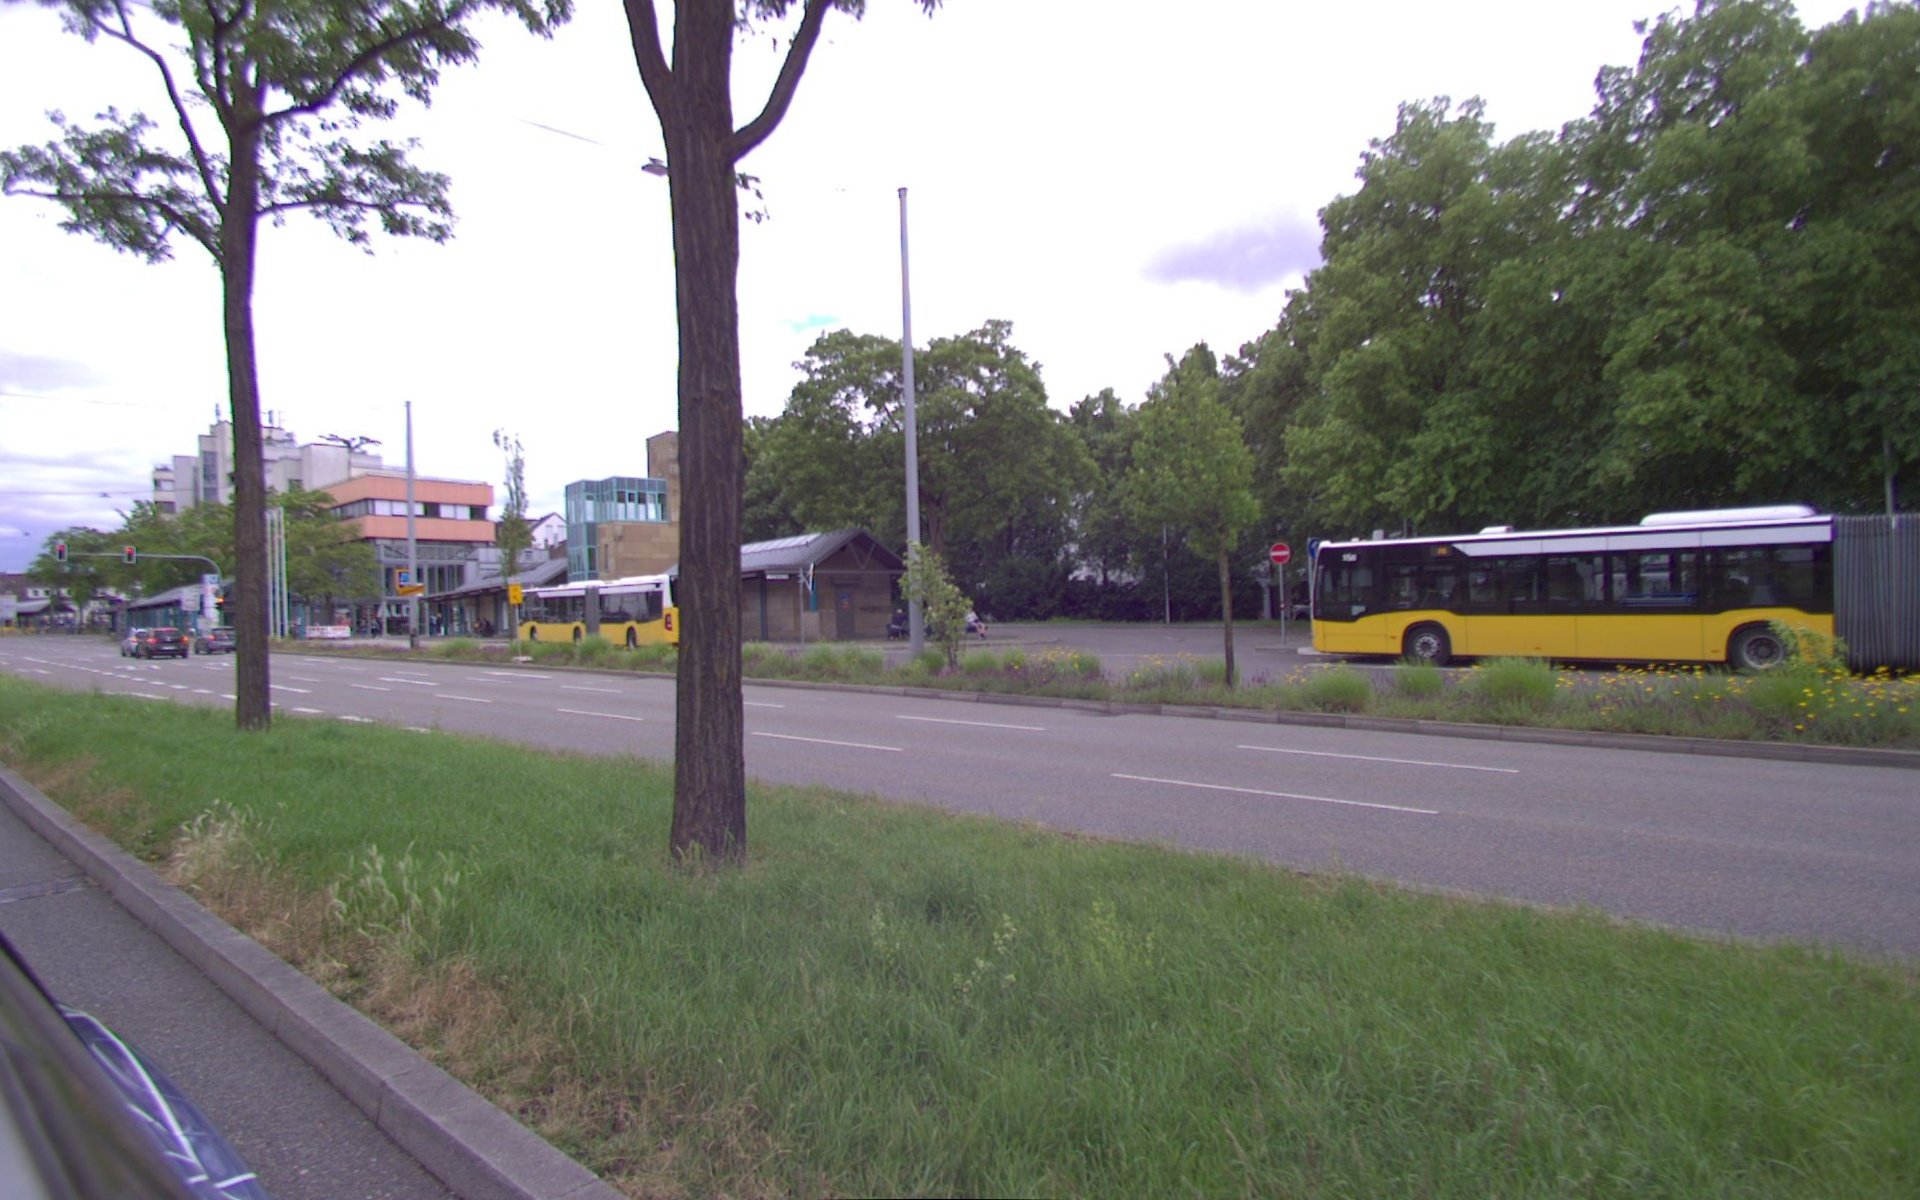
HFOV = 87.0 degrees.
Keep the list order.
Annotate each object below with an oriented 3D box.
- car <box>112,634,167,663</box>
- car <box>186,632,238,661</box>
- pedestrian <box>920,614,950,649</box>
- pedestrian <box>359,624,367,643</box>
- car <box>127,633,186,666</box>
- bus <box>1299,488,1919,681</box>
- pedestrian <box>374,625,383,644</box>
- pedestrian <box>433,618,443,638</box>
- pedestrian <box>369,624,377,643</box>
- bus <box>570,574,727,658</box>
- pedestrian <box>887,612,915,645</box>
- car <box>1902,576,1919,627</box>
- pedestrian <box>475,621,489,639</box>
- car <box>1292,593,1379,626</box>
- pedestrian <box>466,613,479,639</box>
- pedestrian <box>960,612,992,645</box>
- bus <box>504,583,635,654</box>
[{"bbox_3d":[-44.298,2.624,54.607,3.788,1.476,1.727,-3,-2,42],"label":"car"},{"bbox_3d":[-41.933,2.561,56.703,1.794,1.519,4.002,0,-1,-45],"label":"car"},{"bbox_3d":[-0.951,1.182,38.447,0.888,1.300,0.853,-2,-1,17],"label":"pedestrian"},{"bbox_3d":[-48.793,2.743,82.666,0.522,1.559,0.756,-1,-1,-33],"label":"pedestrian"},{"bbox_3d":[-39.791,2.418,50.073,3.767,1.519,1.641,-2,-1,41],"label":"car"},{"bbox_3d":[13.054,-0.132,21.605,10.740,3.187,3.049,-2,-1,44],"label":"bus"},{"bbox_3d":[-48.234,2.837,83.925,0.381,1.559,0.481,-2,-1,22],"label":"pedestrian"},{"bbox_3d":[-39.901,2.126,77.348,0.582,1.472,0.995,-1,-1,-30],"label":"pedestrian"},{"bbox_3d":[-48.239,2.744,83.167,0.382,1.559,0.480,-2,-1,32],"label":"pedestrian"},{"bbox_3d":[-13.488,0.719,43.209,2.775,3.155,9.313,-3,1,-41],"label":"bus"},{"bbox_3d":[-2.332,1.120,39.799,0.886,1.264,0.854,-2,-1,12],"label":"pedestrian"},{"bbox_3d":[32.021,-0.001,31.214,4.249,1.593,1.971,-2,-2,45],"label":"car"},{"bbox_3d":[-30.865,1.954,65.332,0.612,1.129,0.658,0,-1,-45],"label":"pedestrian"},{"bbox_3d":[20.575,0.552,55.553,1.967,1.697,4.009,-1,-1,-36],"label":"car"},{"bbox_3d":[-31.865,1.677,66.139,0.612,1.662,0.658,0,-1,-45],"label":"pedestrian"},{"bbox_3d":[0.637,1.102,39.237,0.857,1.264,0.883,-2,-1,41],"label":"pedestrian"},{"bbox_3d":[-19.467,0.955,50.002,2.743,3.155,9.449,-3,0,-42],"label":"bus"}]
